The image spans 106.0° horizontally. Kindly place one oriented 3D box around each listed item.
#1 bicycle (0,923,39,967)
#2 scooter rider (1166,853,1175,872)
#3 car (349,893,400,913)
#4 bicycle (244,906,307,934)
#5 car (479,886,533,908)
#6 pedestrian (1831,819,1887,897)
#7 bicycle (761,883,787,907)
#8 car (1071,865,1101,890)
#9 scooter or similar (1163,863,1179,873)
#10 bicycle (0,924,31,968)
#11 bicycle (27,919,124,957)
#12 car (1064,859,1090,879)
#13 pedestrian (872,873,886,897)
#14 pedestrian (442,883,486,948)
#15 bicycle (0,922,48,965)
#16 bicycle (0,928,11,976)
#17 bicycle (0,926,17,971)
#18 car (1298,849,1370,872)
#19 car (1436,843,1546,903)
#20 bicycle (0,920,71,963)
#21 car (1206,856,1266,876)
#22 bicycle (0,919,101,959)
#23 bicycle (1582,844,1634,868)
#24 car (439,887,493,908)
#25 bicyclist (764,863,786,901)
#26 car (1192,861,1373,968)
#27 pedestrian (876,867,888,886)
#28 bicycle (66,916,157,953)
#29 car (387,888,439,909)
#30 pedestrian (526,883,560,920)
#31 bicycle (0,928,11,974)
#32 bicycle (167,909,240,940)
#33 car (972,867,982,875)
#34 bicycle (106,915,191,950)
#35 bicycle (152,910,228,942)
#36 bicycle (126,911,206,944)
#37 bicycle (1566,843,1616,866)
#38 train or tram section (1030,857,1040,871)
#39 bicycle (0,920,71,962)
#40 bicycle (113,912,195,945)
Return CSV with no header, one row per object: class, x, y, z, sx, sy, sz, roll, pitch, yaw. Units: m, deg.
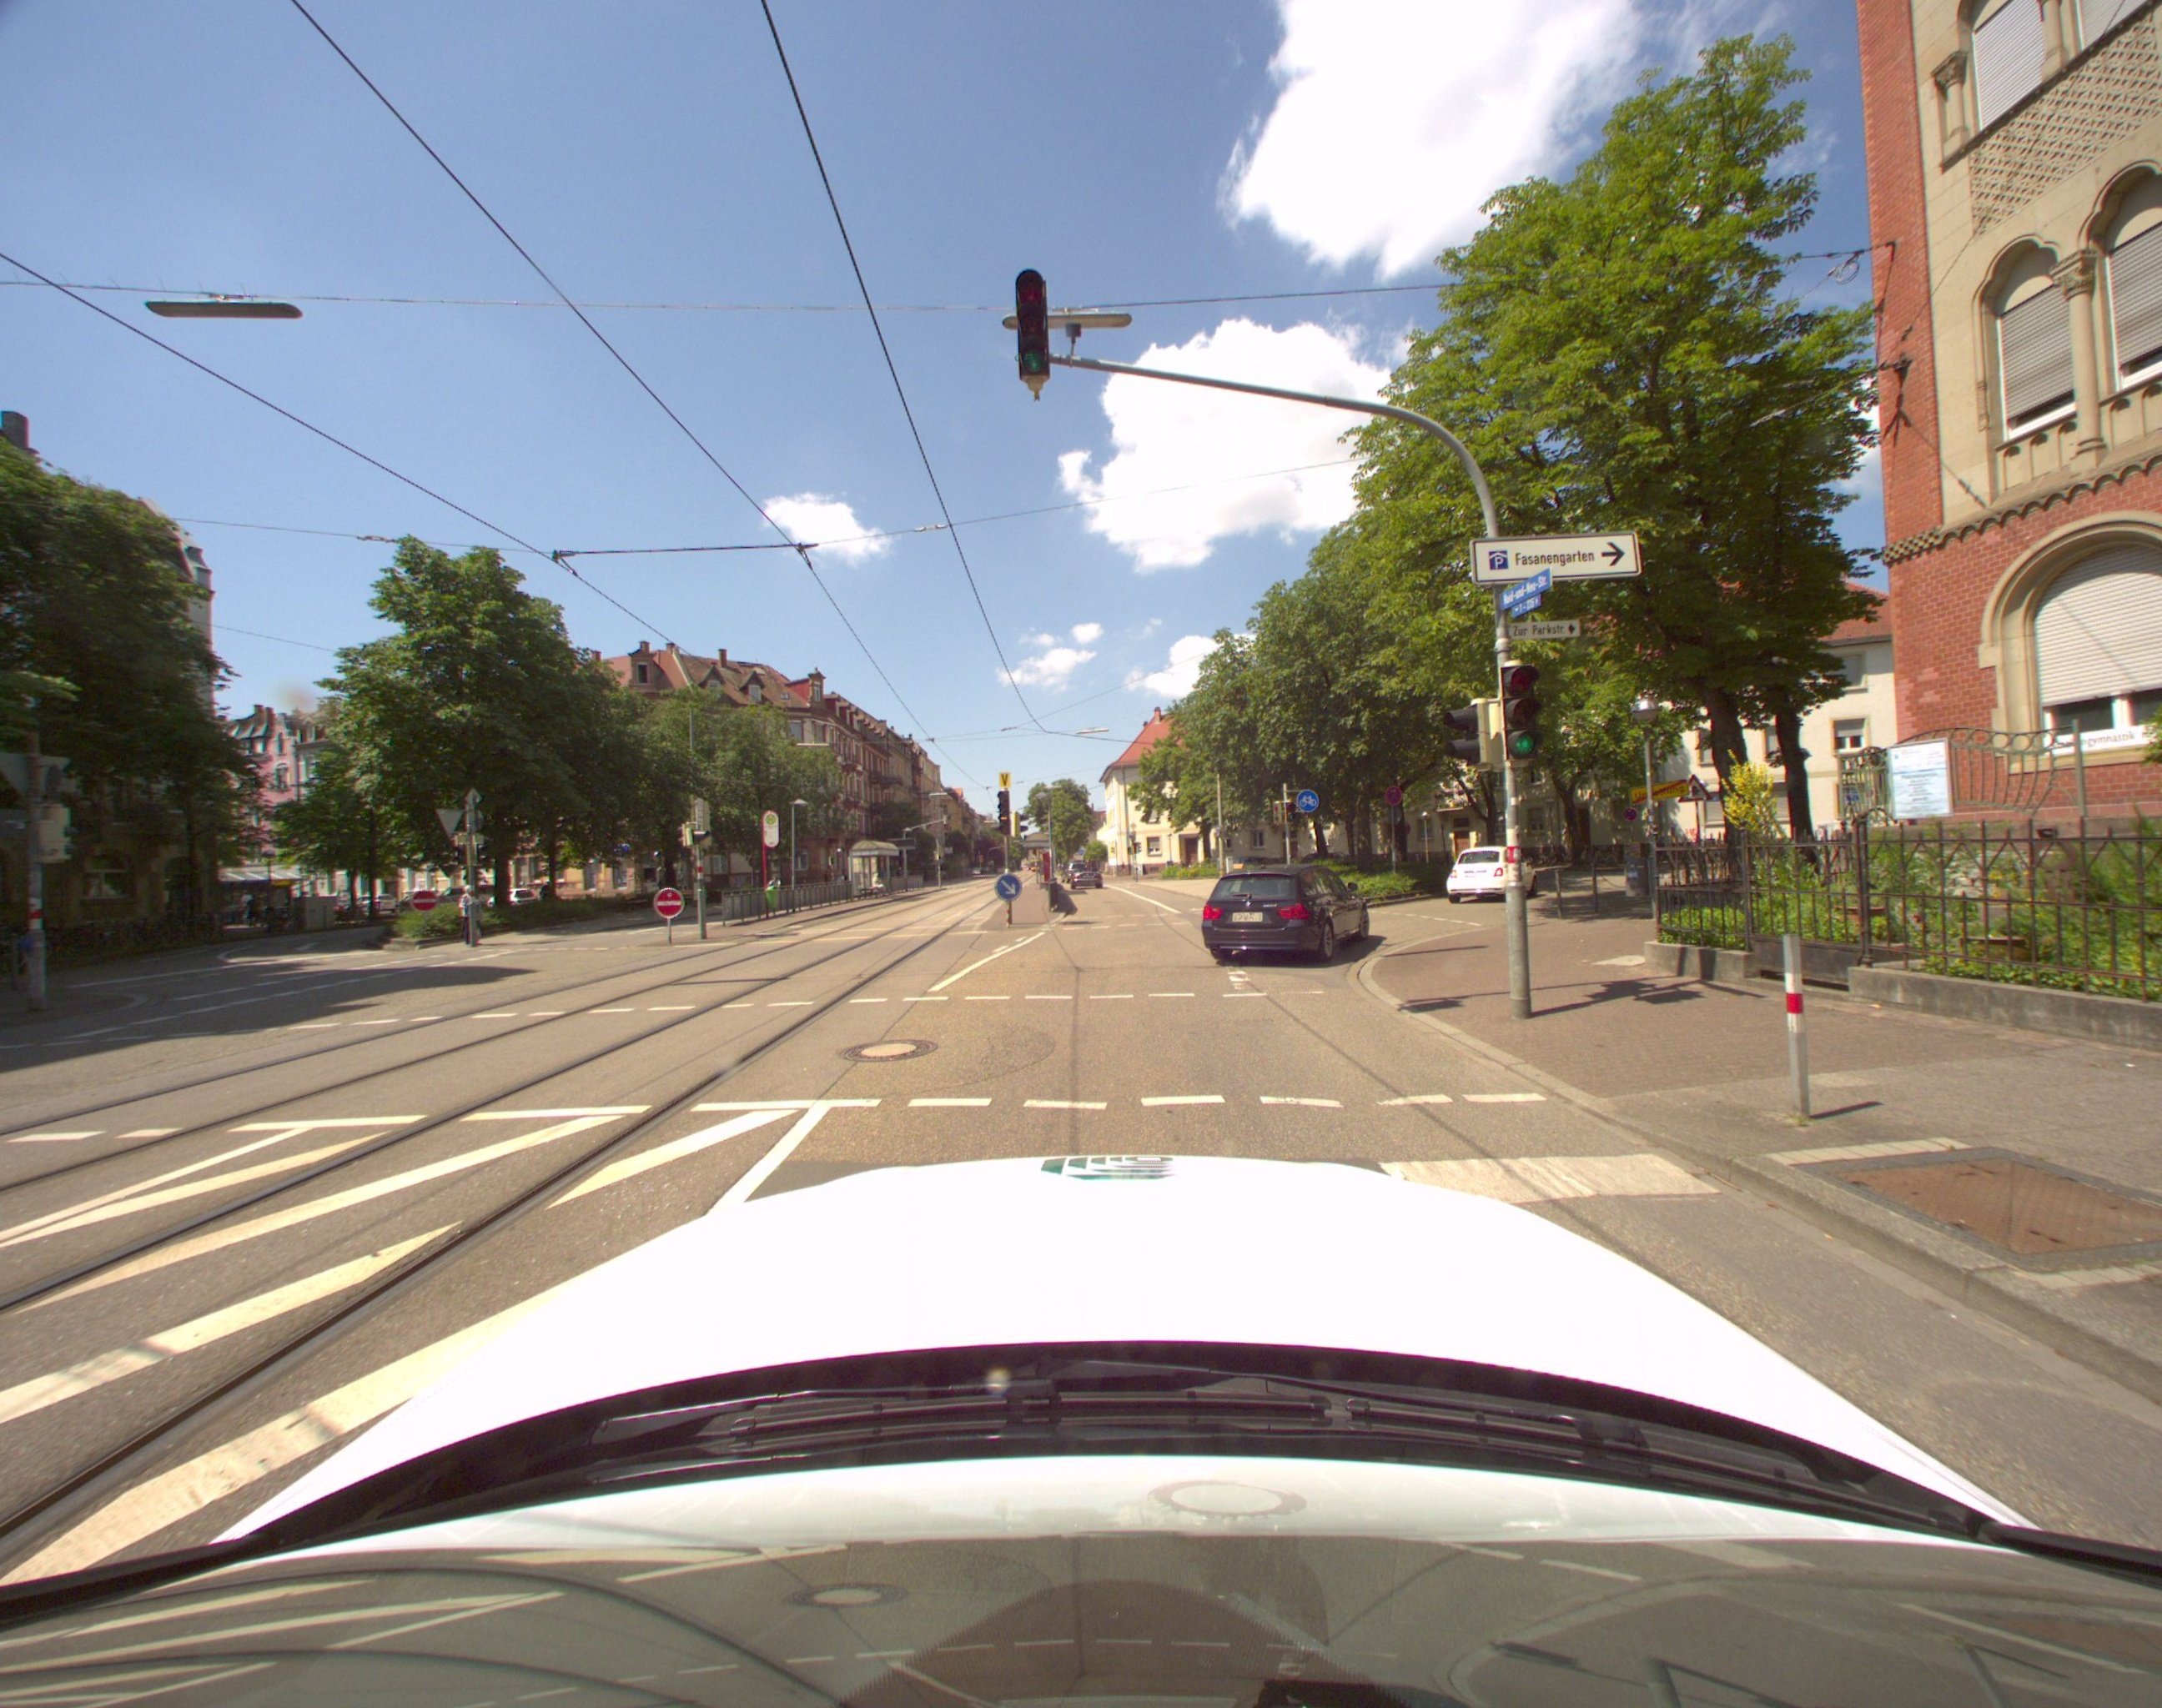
bicycle,-27.590,2.329,20.320,1.866,1.032,0.538,-2,-1,-43
scooter rider,7.854,0.758,71.645,0.590,1.687,0.527,-2,-1,-8
car,-57.499,3.966,66.275,3.429,1.471,1.694,-3,-1,22
bicycle,-35.238,2.877,35.660,1.859,1.032,0.540,-2,-1,-25
car,-43.225,3.226,61.252,3.429,1.471,1.694,-3,-1,22
pedestrian,16.168,0.082,16.924,0.806,1.556,0.741,-2,-1,-43
bicycle,-15.367,2.055,40.796,0.727,1.102,1.713,-2,-1,-4
car,0.262,1.366,48.430,1.686,1.323,3.819,-2,-1,-1
scooter or similar,7.887,1.265,71.634,1.311,0.837,0.525,-2,-1,-8
bicycle,-27.029,2.290,19.739,1.866,1.032,0.538,-2,-1,-42
bicycle,-31.679,2.637,25.693,1.858,1.032,0.540,-2,-1,-25
car,-0.354,1.207,64.893,1.689,1.514,3.814,-2,-1,-5
pedestrian,-10.526,1.614,42.423,0.613,1.243,0.626,-2,-1,-8
pedestrian,-17.042,1.680,22.516,0.843,1.723,0.909,-2,-1,-33
bicycle,-28.082,2.340,20.914,0.537,1.032,1.867,-3,-1,44
bicycle,-24.464,2.194,17.485,0.537,1.032,1.742,-3,-1,31
bicycle,-26.083,2.254,18.744,0.537,1.032,1.867,-3,-1,31
car,16.720,0.468,54.018,1.799,1.328,4.292,-2,-1,-35
car,11.497,0.497,22.717,1.669,1.484,3.707,-3,-1,44
bicycle,-28.530,2.367,21.779,0.537,1.032,1.868,-3,-1,38
car,11.298,0.886,59.457,3.948,1.243,1.634,-3,-1,33
bicycle,-31.358,2.568,24.803,1.858,1.032,0.540,-2,-1,-24
bicycle,25.858,0.081,39.973,2.206,1.058,0.653,-3,-1,-5
car,-47.113,3.335,62.394,3.429,1.471,1.694,-3,-1,22
bicyclist,-15.404,1.387,40.974,0.720,1.870,0.825,-3,-1,-1
car,3.450,0.829,13.254,1.706,1.409,4.592,-1,-1,29
pedestrian,-18.663,2.101,76.325,0.633,1.811,0.744,-3,-1,26
bicycle,-31.869,2.643,26.792,1.858,1.032,0.540,-2,-1,-24
car,-53.006,3.520,64.634,3.429,1.471,1.694,-3,-1,22
pedestrian,-28.281,2.474,42.835,0.992,1.868,1.021,-3,-1,15
bicycle,-24.998,2.213,17.896,0.537,1.032,1.742,-3,-1,31
bicycle,-34.293,2.757,31.862,1.859,1.032,0.540,-2,-1,-25
car,-21.344,3.571,166.558,1.788,1.586,3.985,-1,-1,-11
bicycle,-32.268,2.700,28.220,1.858,1.032,0.540,-2,-1,-24
bicycle,-33.941,2.726,31.042,1.859,1.032,0.540,-2,-1,-25
bicycle,-33.688,2.699,30.014,1.859,1.032,0.540,-2,-1,-25
bicycle,26.140,0.011,41.737,2.203,1.058,0.557,-3,-1,-2
train or tram section,-11.736,2.545,207.279,2.185,3.482,8.836,-3,-1,-3
bicycle,-29.011,2.386,22.184,0.537,1.032,1.868,-3,-1,38
bicycle,-33.473,2.683,29.432,1.859,1.032,0.540,-2,-1,-25
